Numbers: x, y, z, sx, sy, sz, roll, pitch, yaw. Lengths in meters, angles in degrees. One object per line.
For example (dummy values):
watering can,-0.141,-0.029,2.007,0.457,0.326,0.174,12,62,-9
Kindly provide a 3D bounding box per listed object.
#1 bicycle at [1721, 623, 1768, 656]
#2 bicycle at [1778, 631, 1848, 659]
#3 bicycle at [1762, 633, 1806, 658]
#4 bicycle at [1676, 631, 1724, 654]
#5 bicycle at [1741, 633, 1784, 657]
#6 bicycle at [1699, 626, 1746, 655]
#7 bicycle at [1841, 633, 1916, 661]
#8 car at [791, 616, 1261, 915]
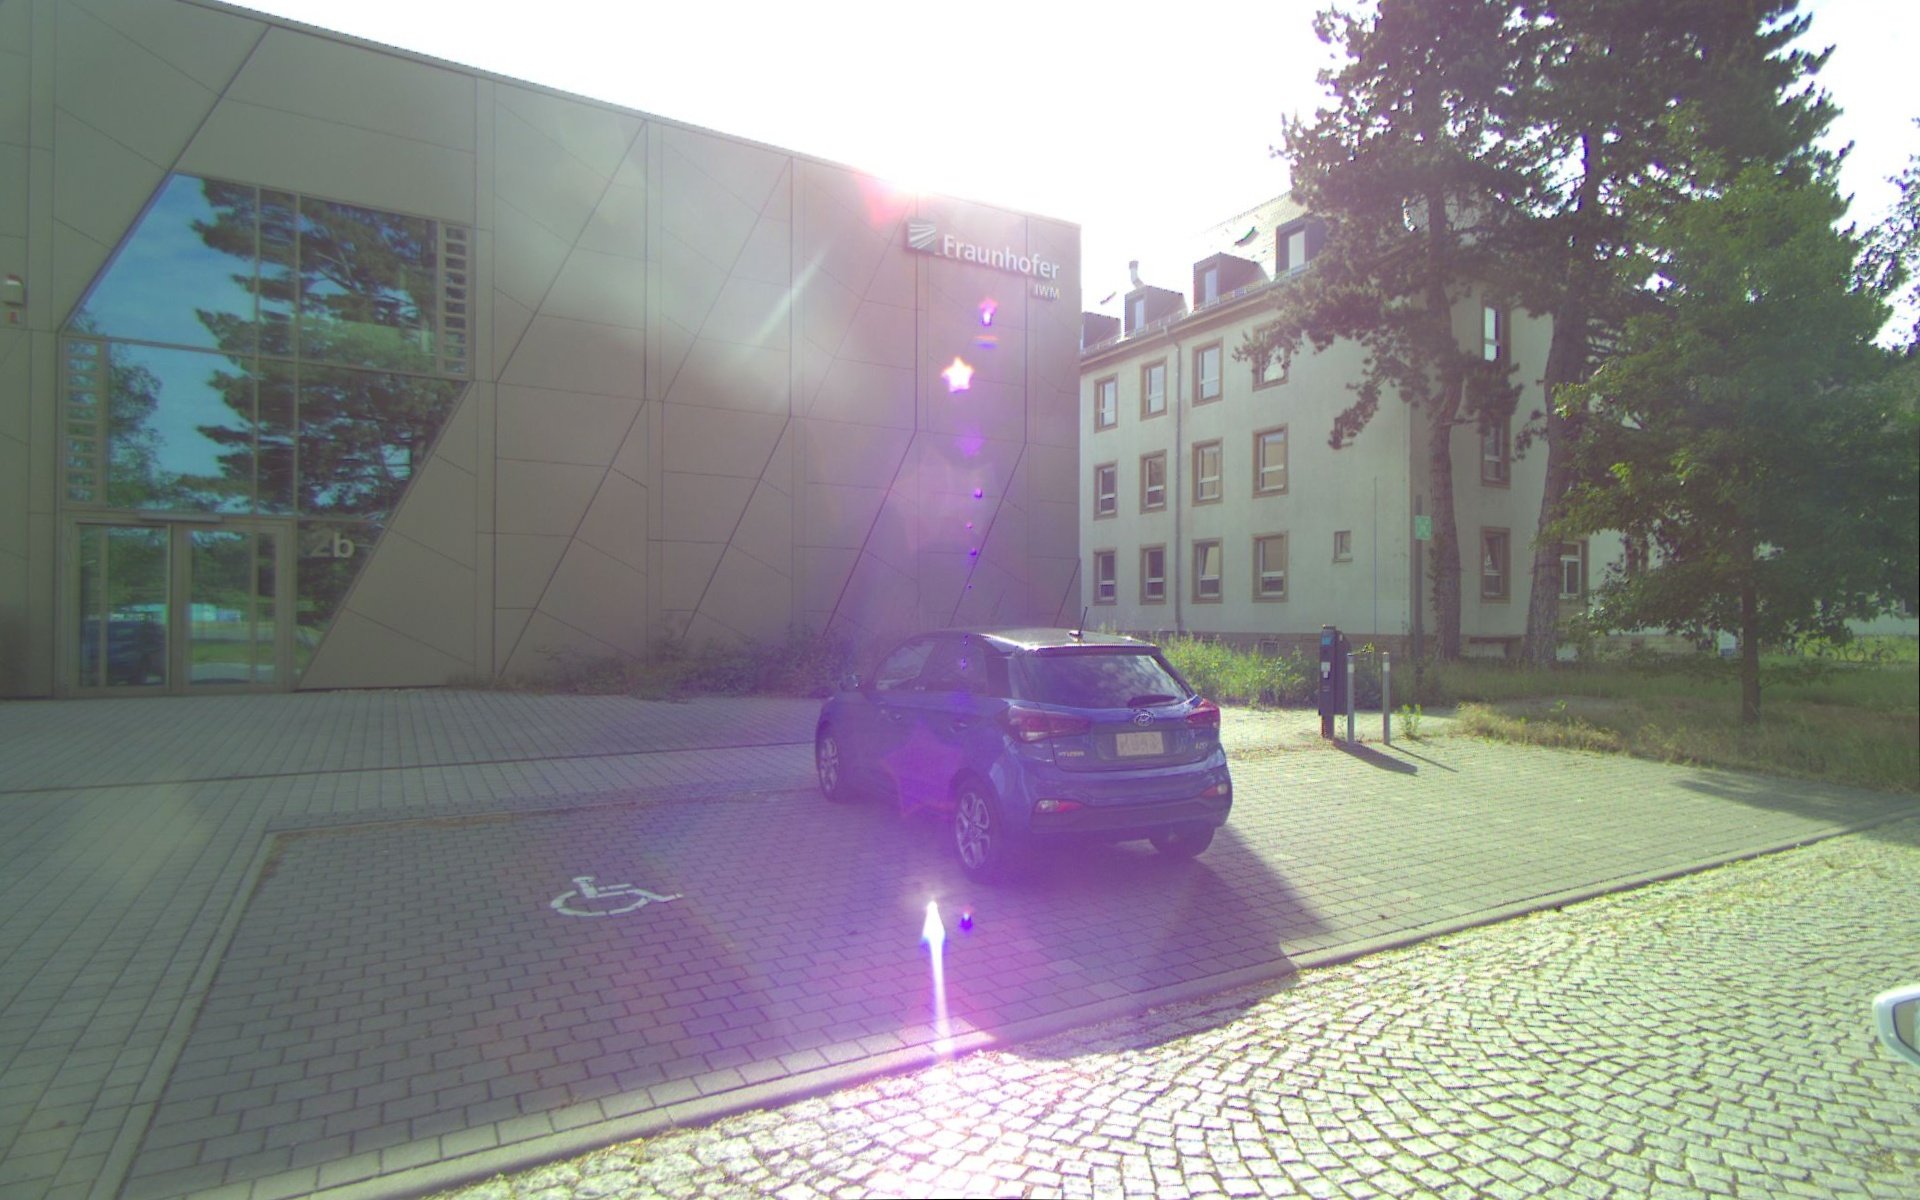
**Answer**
bicycle,35.663,1.788,45.628,2.524,1.456,0.822,1,-1,-31
bicycle,35.819,1.863,42.211,0.820,1.123,2.105,1,-1,-33
bicycle,36.174,2.006,44.106,2.099,1.061,0.822,1,-1,-31
bicycle,34.591,1.982,46.932,2.524,1.061,0.896,1,-1,-31
bicycle,35.756,1.999,44.765,2.099,1.061,0.822,1,-1,-31
bicycle,35.030,1.870,46.148,2.524,1.298,0.822,1,-1,-31
bicycle,36.933,1.878,40.410,0.820,1.061,2.105,1,-1,-33
car,0.188,0.923,7.426,1.698,1.483,3.820,1,0,-28
